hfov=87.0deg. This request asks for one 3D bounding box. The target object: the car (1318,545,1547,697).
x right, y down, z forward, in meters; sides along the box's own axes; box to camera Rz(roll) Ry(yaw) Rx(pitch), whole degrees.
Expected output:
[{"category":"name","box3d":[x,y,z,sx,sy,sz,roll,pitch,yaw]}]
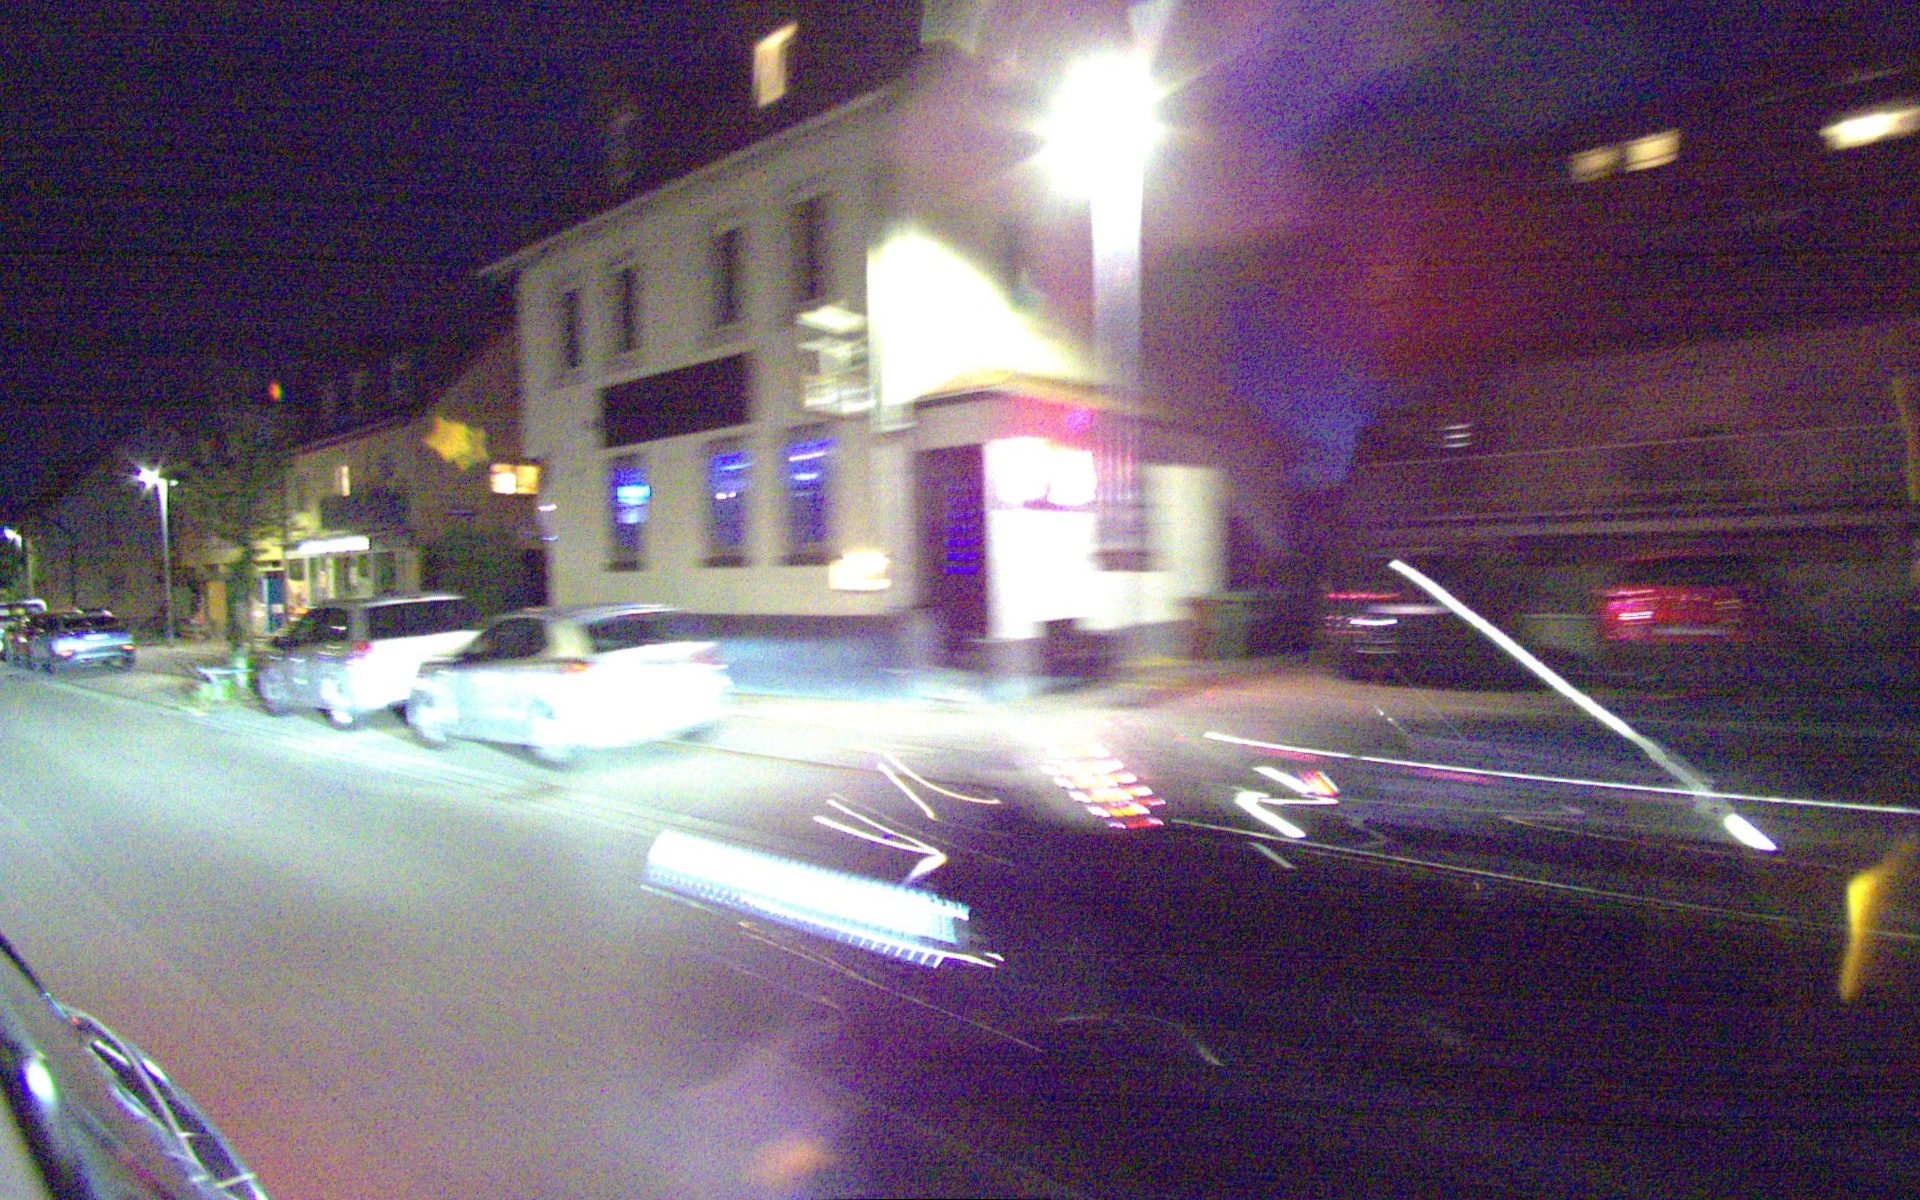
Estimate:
[{"category":"car","box3d":[6.134,0.196,12.840,2.024,1.573,4.277,-1,0,33]}]

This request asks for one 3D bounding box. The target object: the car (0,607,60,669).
[{"category":"car","box3d":[-33.126,1.316,35.081,4.883,1.961,2.095,-1,1,39]}]

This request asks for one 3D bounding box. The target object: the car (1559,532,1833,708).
[{"category":"car","box3d":[8.471,0.155,11.516,2.001,1.630,3.943,-1,0,44]}]

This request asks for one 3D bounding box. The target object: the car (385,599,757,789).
[{"category":"car","box3d":[-4.033,0.803,10.203,3.963,1.479,1.753,-1,2,40]}]

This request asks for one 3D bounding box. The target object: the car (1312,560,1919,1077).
[{"category":"car","box3d":[3.503,0.602,3.409,4.005,1.479,1.732,-1,1,40]}]

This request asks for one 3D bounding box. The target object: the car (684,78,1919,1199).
[{"category":"car","box3d":[1.866,0.465,1.056,4.557,1.761,1.982,-1,0,42]}]

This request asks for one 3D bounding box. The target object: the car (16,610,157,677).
[{"category":"car","box3d":[-23.902,1.120,27.642,4.472,1.559,2.096,0,3,39]}]

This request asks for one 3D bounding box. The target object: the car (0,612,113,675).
[{"category":"car","box3d":[-27.700,1.284,30.844,4.165,1.683,2.095,-2,1,39]}]

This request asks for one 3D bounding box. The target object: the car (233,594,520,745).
[{"category":"car","box3d":[-8.002,0.835,13.706,4.467,1.649,1.909,-1,1,40]}]
